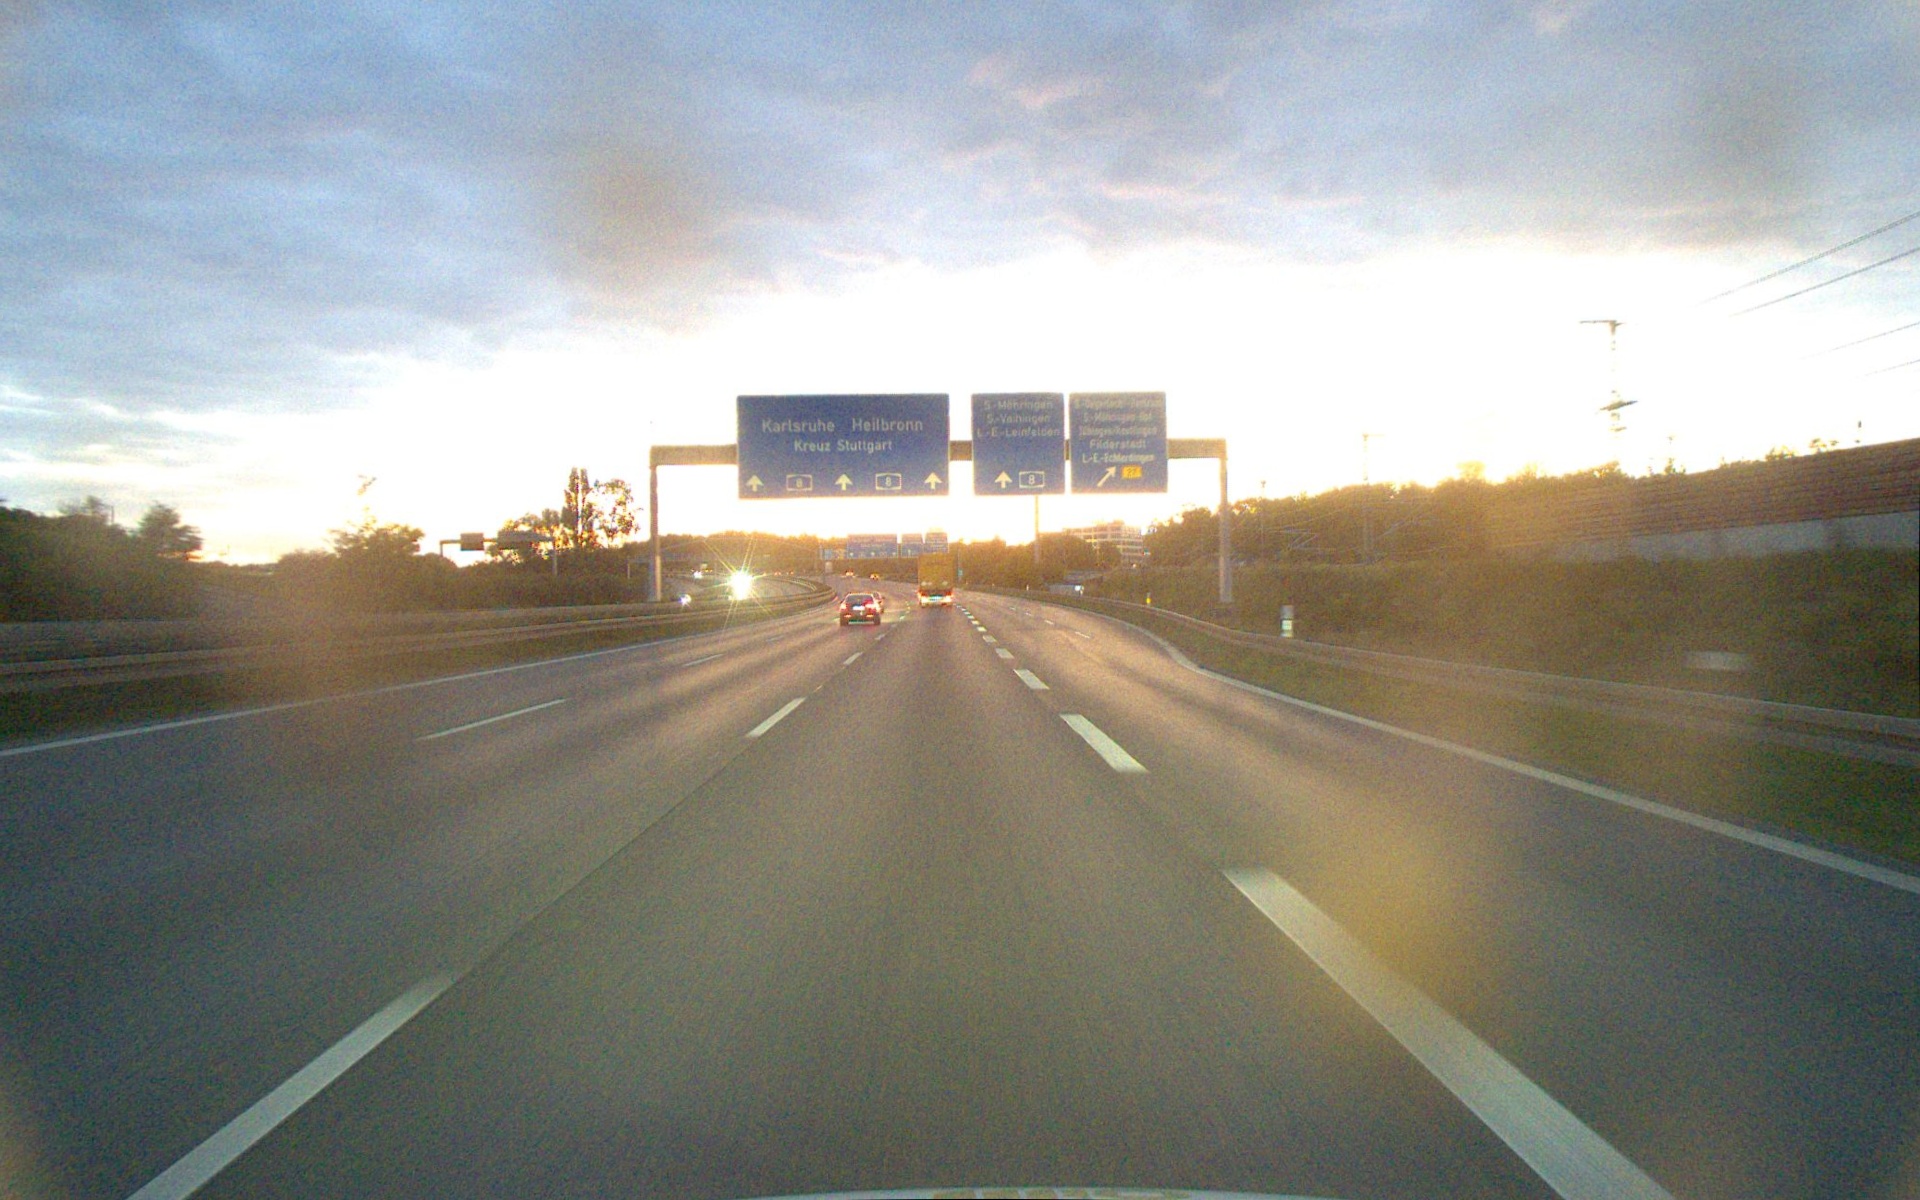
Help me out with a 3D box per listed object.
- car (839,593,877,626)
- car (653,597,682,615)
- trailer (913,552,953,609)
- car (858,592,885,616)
[{"bbox_3d":[-4.772,0.416,77.060,1.657,1.426,3.405,-3,0,-5],"label":"car"},{"bbox_3d":[-23.745,0.477,134.287,1.655,1.426,4.428,1,-1,-1],"label":"car"},{"bbox_3d":[-2.150,-1.609,128.780,2.668,4.141,8.827,-3,2,-3],"label":"trailer"},{"bbox_3d":[-5.837,0.265,109.683,1.656,1.425,3.407,-4,0,-2],"label":"car"}]
